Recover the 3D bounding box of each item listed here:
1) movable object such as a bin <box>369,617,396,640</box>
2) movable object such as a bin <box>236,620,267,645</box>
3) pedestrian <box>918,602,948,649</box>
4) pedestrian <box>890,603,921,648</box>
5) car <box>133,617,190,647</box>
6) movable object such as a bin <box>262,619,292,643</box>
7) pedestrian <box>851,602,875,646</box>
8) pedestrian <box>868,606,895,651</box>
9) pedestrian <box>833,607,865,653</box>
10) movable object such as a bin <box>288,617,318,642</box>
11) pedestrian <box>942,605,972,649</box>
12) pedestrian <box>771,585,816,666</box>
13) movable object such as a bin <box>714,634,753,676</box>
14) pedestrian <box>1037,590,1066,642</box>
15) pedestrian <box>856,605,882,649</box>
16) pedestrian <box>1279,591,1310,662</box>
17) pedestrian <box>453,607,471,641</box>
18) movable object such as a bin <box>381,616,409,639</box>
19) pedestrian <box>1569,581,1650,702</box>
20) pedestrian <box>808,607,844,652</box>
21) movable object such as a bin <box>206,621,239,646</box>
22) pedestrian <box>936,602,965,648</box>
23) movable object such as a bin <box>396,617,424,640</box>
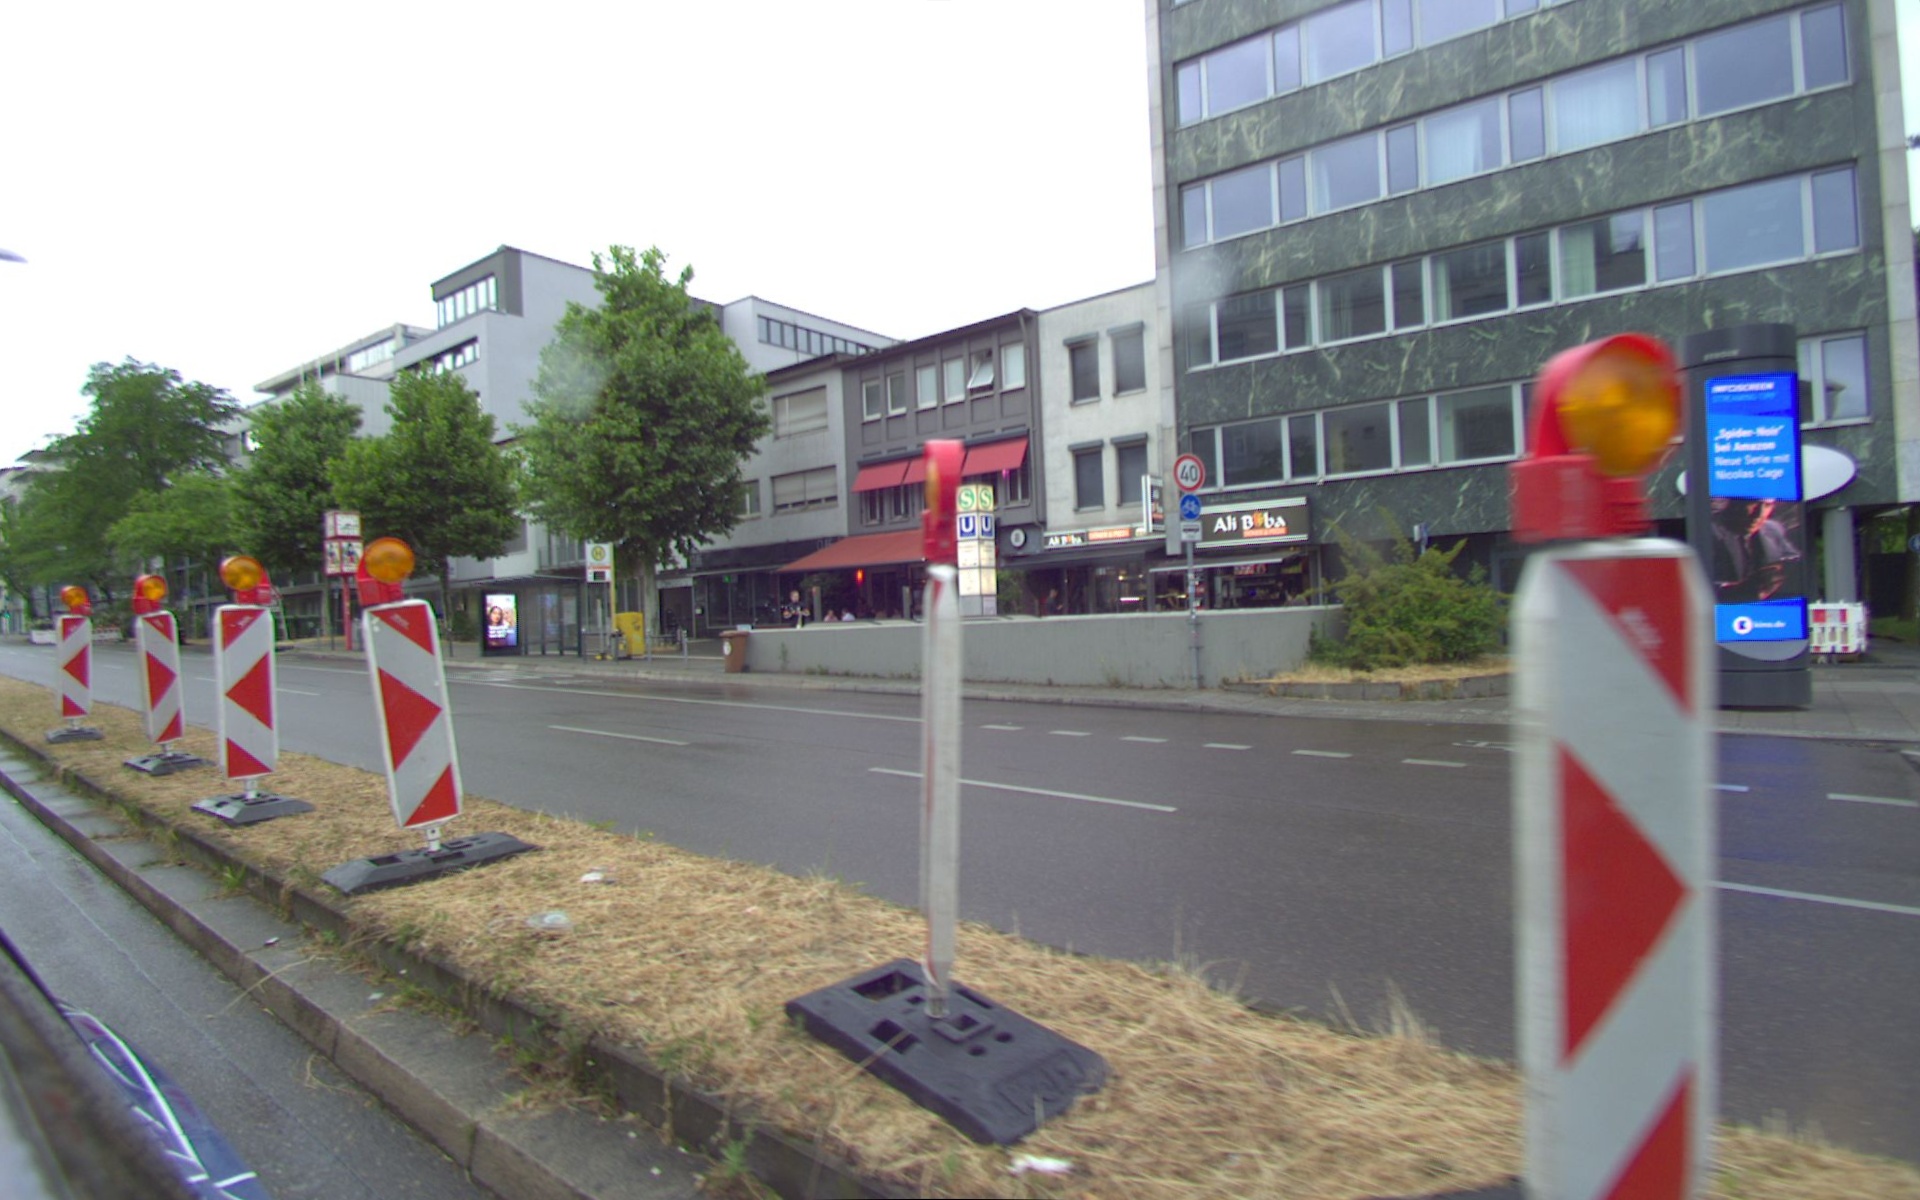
[{"bbox_3d":[-37.954,1.878,66.530,1.278,1.446,1.077,-2,-1,32],"label":"movable object such as a bin"},{"bbox_3d":[-42.050,1.948,60.032,1.088,1.437,1.265,-2,-1,41],"label":"movable object such as a bin"},{"bbox_3d":[-0.846,0.816,32.231,0.690,1.461,0.627,-2,-1,34],"label":"pedestrian"},{"bbox_3d":[-1.779,0.844,33.258,0.690,1.461,0.720,-2,-1,34],"label":"pedestrian"},{"bbox_3d":[-46.851,1.863,59.363,4.019,1.648,1.761,-3,-2,38],"label":"car"},{"bbox_3d":[-41.212,1.864,61.075,1.088,1.437,1.265,-2,-1,41],"label":"movable object such as a bin"},{"bbox_3d":[-3.478,0.853,36.327,0.603,1.582,0.591,-1,-1,31],"label":"pedestrian"},{"bbox_3d":[-2.617,0.945,33.882,0.582,1.461,0.683,-2,-1,38],"label":"pedestrian"},{"bbox_3d":[-3.558,0.965,32.482,0.706,1.461,0.683,-2,-1,37],"label":"pedestrian"},{"bbox_3d":[-40.321,1.788,62.128,1.088,1.499,1.265,-2,-1,41],"label":"movable object such as a bin"},{"bbox_3d":[-0.101,0.852,31.779,0.690,1.354,0.627,-2,-1,34],"label":"pedestrian"},{"bbox_3d":[-3.980,0.608,24.186,0.757,1.899,0.683,-2,-1,37],"label":"pedestrian"},{"bbox_3d":[-5.026,1.211,22.451,0.680,0.904,0.527,-2,-2,32],"label":"movable object such as a bin"},{"bbox_3d":[2.616,0.458,28.982,0.587,1.461,0.597,-2,-1,36],"label":"pedestrian"},{"bbox_3d":[-3.086,0.914,34.324,0.546,1.461,0.683,-2,-1,37],"label":"pedestrian"},{"bbox_3d":[9.193,0.716,27.801,0.590,1.899,0.749,-2,-1,34],"label":"pedestrian"},{"bbox_3d":[-25.942,1.236,52.711,0.653,1.776,0.688,-2,-1,43],"label":"pedestrian"},{"bbox_3d":[-36.669,1.791,65.674,1.278,1.446,1.077,-2,-1,32],"label":"movable object such as a bin"},{"bbox_3d":[9.279,0.569,14.464,0.745,1.665,0.693,-1,-1,-34],"label":"pedestrian"},{"bbox_3d":[-4.388,0.958,33.100,0.912,1.461,0.683,-2,-1,37],"label":"pedestrian"},{"bbox_3d":[-42.963,1.943,58.941,1.088,1.437,1.345,-2,-1,41],"label":"movable object such as a bin"},{"bbox_3d":[-0.319,0.819,32.952,0.690,1.461,0.627,-2,-1,34],"label":"pedestrian"},{"bbox_3d":[-35.365,1.849,65.080,1.278,1.446,1.077,-2,-1,32],"label":"movable object such as a bin"}]
